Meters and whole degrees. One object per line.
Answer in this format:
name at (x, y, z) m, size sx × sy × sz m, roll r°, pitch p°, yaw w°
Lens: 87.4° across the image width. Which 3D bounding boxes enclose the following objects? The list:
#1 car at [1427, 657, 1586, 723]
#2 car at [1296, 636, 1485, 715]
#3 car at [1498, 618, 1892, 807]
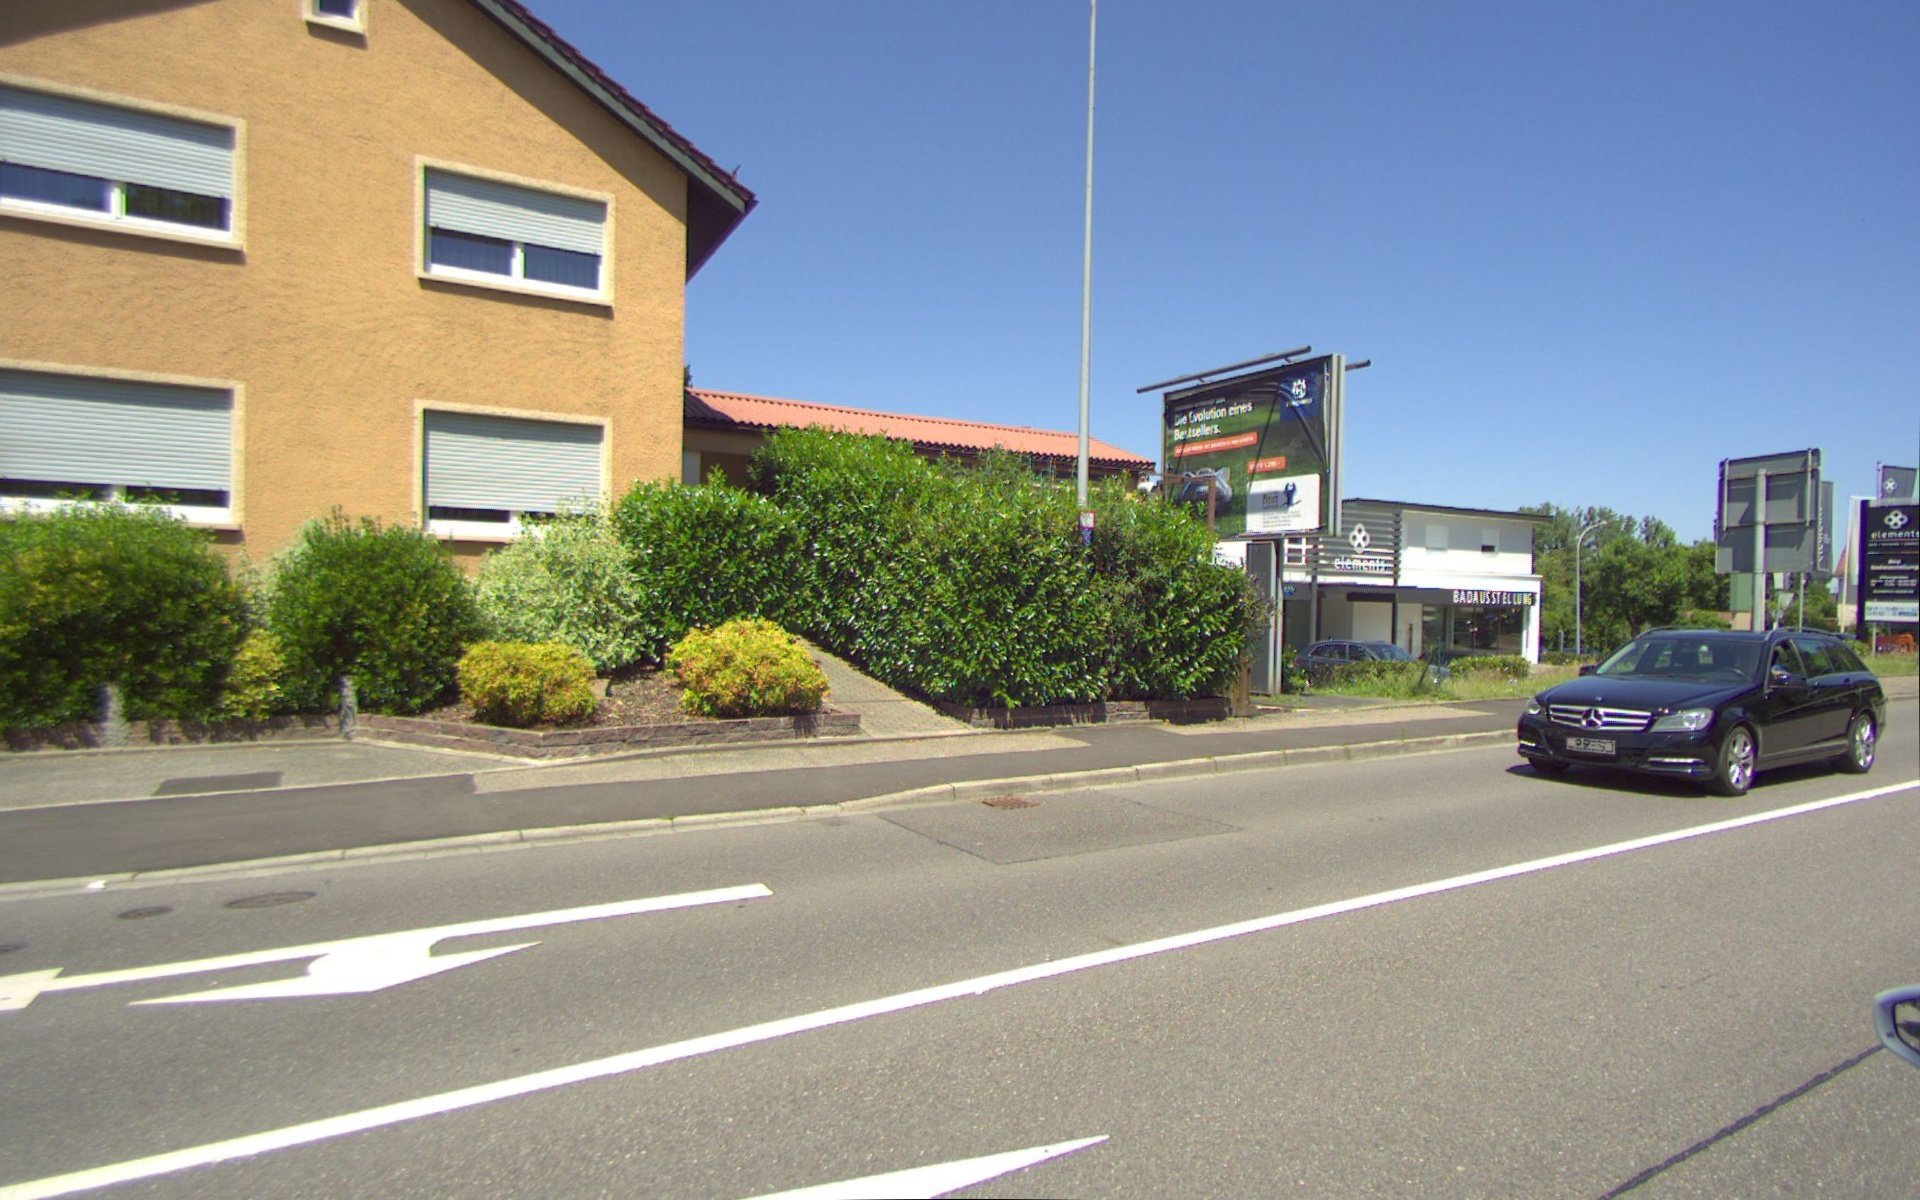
car at (14.435, 2.328, 26.705) m, size 1.756 × 1.442 × 3.327 m, roll 1°, pitch 0°, yaw -25°
car at (11.067, 1.885, 26.160) m, size 1.871 × 1.709 × 4.314 m, roll 2°, pitch 0°, yaw -28°
car at (7.471, 0.959, 10.119) m, size 4.228 × 1.515 × 1.701 m, roll 1°, pitch 0°, yaw -31°
